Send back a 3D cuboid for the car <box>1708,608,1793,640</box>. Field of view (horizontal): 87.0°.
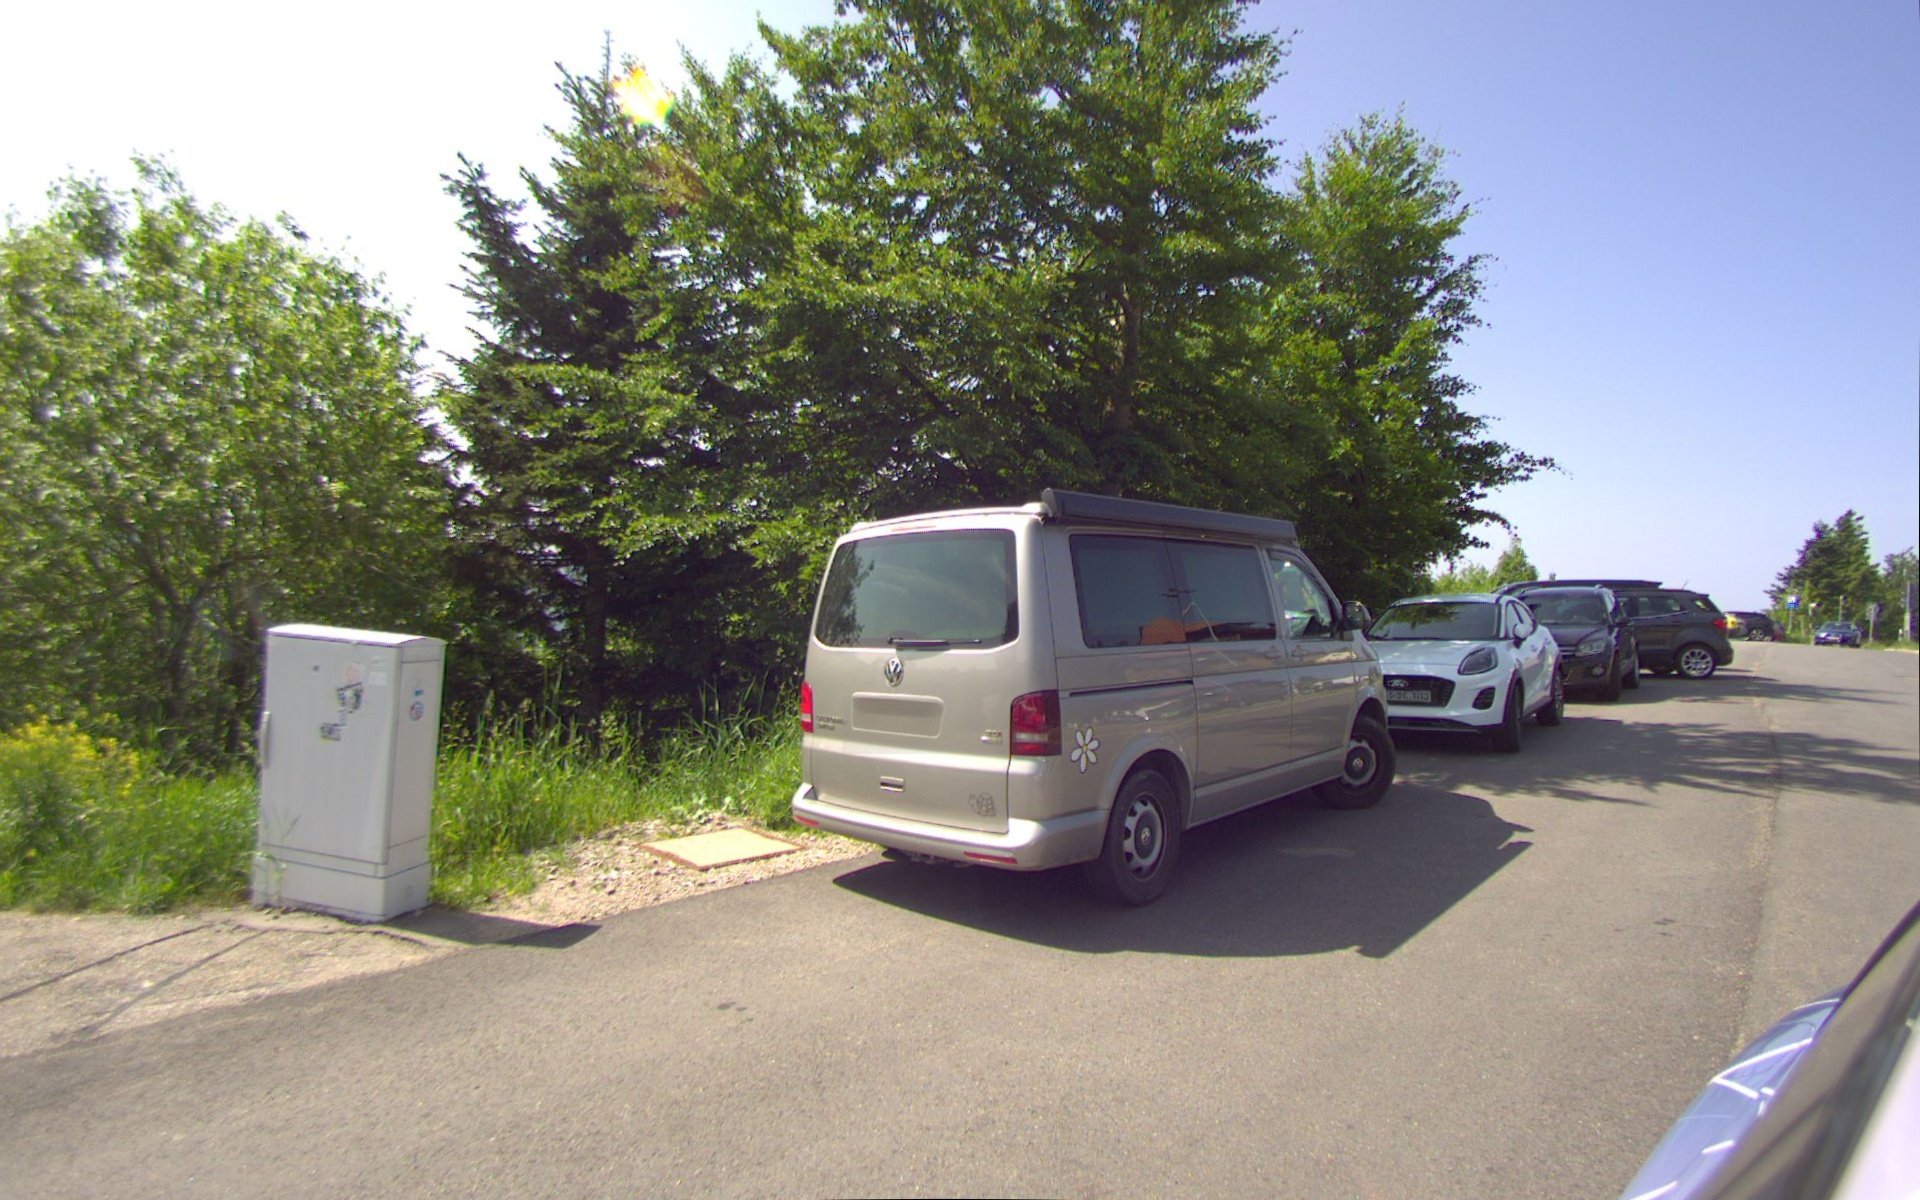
[{"bbox_3d":[48.053,1.426,61.560,3.900,1.634,1.847,4,2,43],"label":"car"}]

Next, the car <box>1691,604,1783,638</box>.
[{"bbox_3d":[43.554,1.168,56.781,3.900,1.634,1.847,4,2,43],"label":"car"}]

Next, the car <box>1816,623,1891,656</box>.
[{"bbox_3d":[49.080,2.163,55.594,3.834,1.634,1.879,1,2,-30],"label":"car"}]

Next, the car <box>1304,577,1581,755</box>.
[{"bbox_3d":[5.401,0.595,11.057,1.867,1.567,3.943,-1,-1,39],"label":"car"}]

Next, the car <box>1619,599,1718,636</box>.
[{"bbox_3d":[36.199,0.855,51.737,3.900,1.634,1.847,4,2,43],"label":"car"}]

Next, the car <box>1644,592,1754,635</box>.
[{"bbox_3d":[38.715,0.675,53.097,4.446,1.949,1.847,4,2,43],"label":"car"}]

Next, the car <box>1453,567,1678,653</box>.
[{"bbox_3d":[14.608,0.256,24.729,4.406,1.950,1.863,-1,-1,21],"label":"car"}]

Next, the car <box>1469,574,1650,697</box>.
[{"bbox_3d":[9.408,0.487,15.731,1.867,1.639,3.943,-1,-1,39],"label":"car"}]

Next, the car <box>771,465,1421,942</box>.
[{"bbox_3d":[1.194,0.444,6.477,1.856,1.960,4.537,-2,-1,43],"label":"car"}]

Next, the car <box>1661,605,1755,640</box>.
[{"bbox_3d":[40.903,1.188,55.385,3.900,1.634,1.847,4,2,43],"label":"car"}]

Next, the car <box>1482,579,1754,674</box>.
[{"bbox_3d":[12.218,0.487,19.126,3.951,1.639,1.863,-1,-1,21],"label":"car"}]
